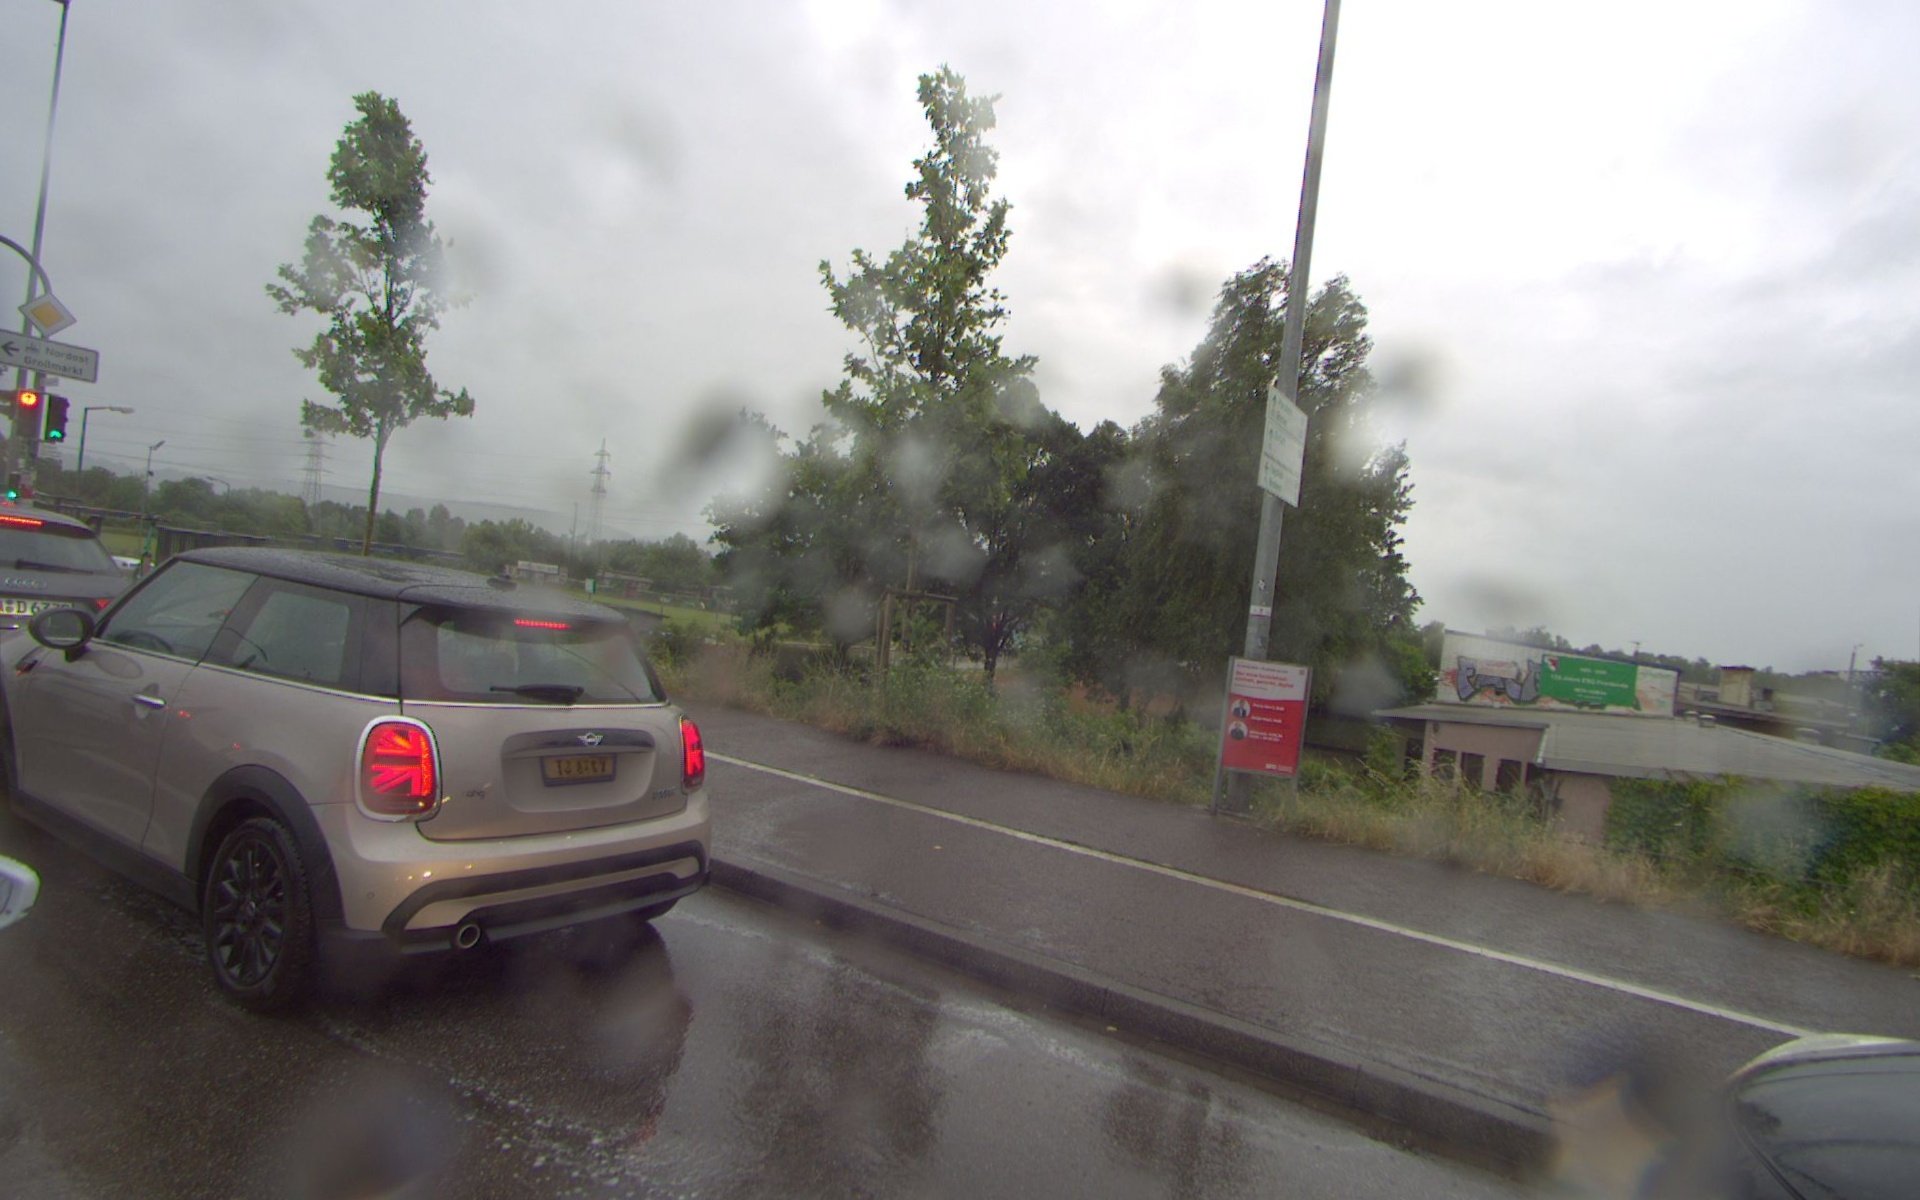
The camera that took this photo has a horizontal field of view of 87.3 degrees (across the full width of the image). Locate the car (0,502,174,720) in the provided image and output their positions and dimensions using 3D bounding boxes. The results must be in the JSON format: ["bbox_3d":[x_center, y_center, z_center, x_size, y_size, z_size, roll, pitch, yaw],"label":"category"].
[{"bbox_3d":[-7.487,-0.089,7.212,3.563,1.360,1.632,6,-2,31],"label":"car"}]

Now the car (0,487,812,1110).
[{"bbox_3d":[-2.653,0.494,4.316,3.563,1.525,1.717,7,-2,31],"label":"car"}]

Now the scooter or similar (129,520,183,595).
[{"bbox_3d":[-13.623,-0.730,17.032,1.167,1.171,0.246,6,-1,33],"label":"scooter or similar"}]

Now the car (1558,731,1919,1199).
[{"bbox_3d":[2.767,1.175,1.045,3.563,1.445,1.632,7,-1,31],"label":"car"}]
